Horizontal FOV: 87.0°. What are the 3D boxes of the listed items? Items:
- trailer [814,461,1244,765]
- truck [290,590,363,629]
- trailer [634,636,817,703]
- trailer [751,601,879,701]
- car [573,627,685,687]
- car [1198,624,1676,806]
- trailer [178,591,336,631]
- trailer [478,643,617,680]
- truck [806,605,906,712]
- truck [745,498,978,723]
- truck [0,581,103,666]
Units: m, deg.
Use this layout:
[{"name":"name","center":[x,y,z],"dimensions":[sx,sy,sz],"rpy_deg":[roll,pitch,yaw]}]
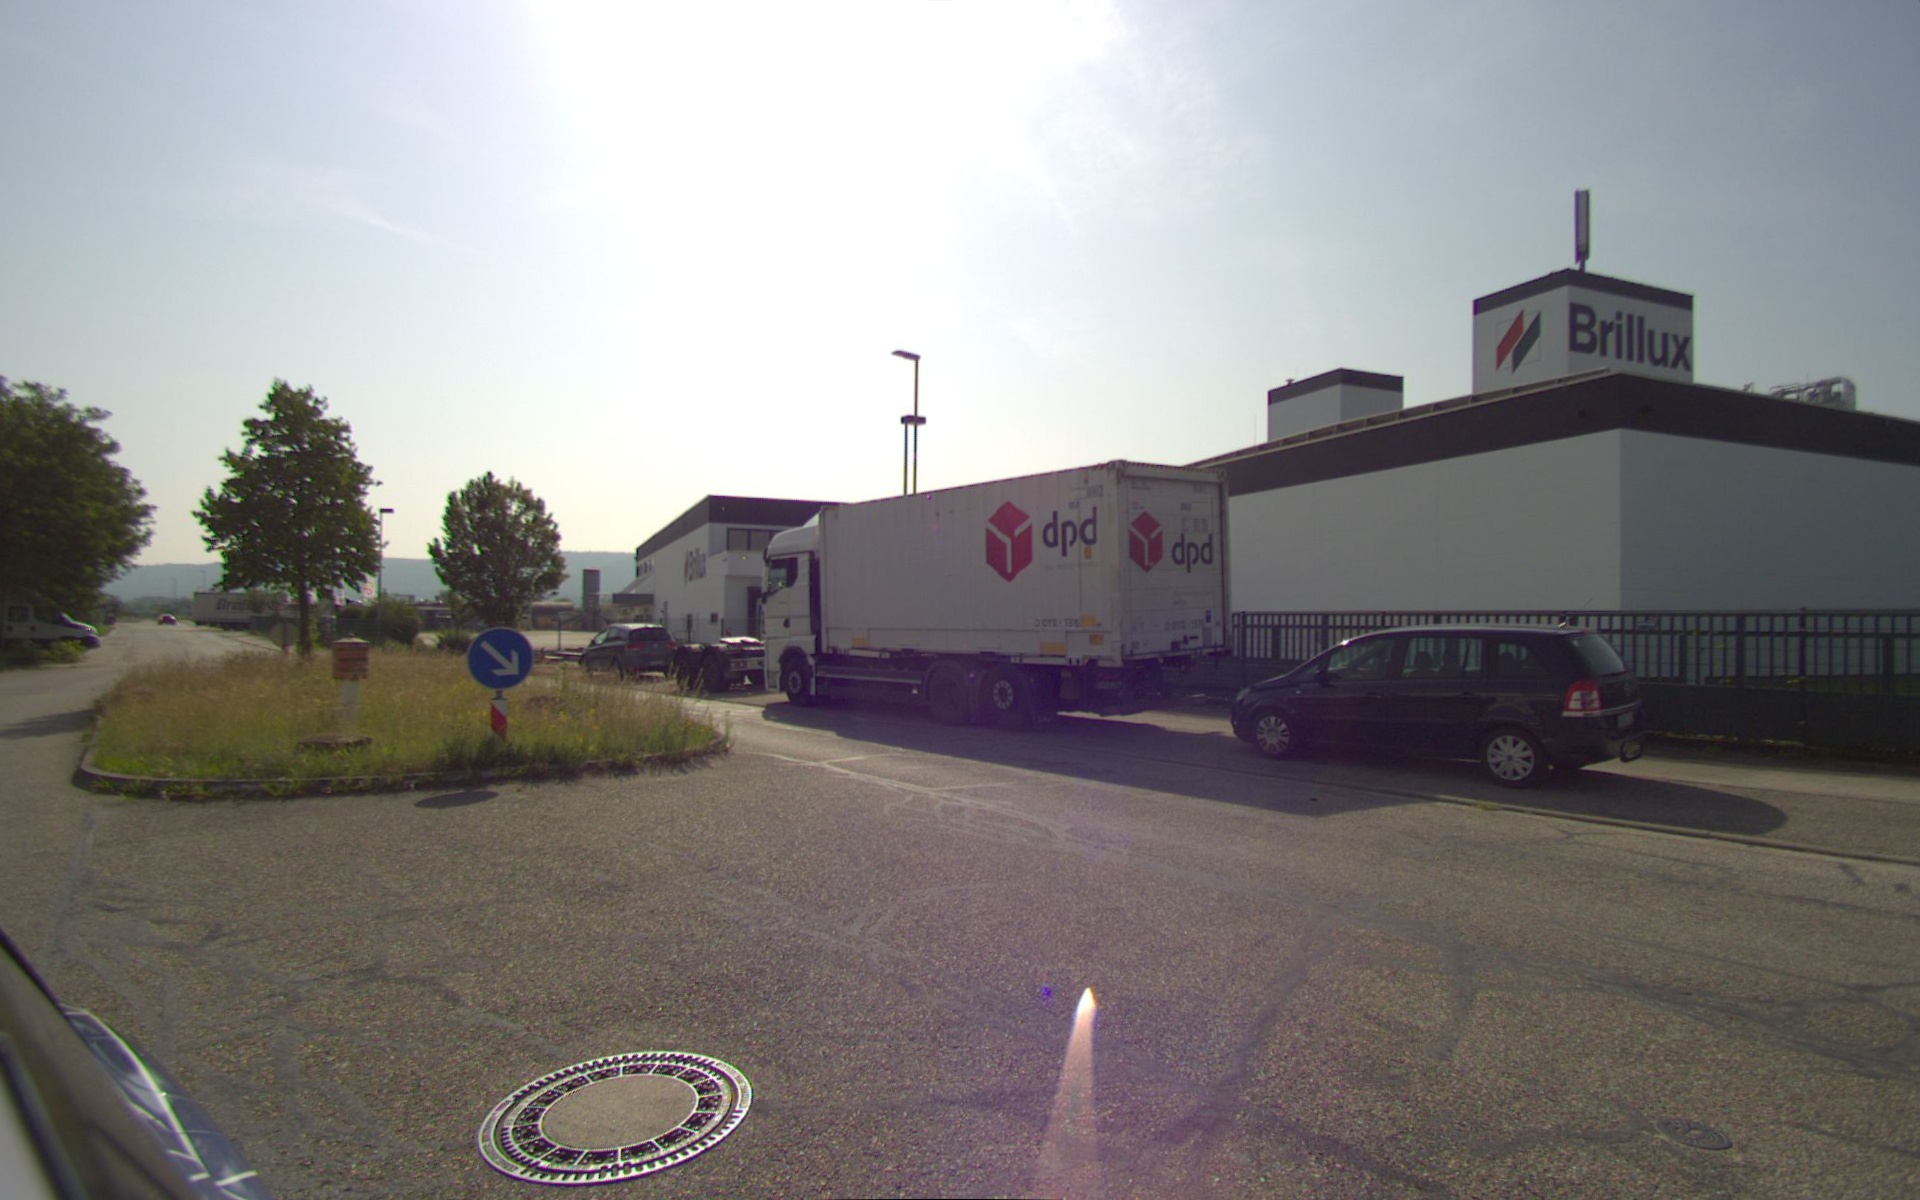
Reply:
[{"name":"trailer","center":[0.725,0.165,16.937],"dimensions":[2.666,3.951,7.588],"rpy_deg":[-1,0,-40]},{"name":"truck","center":[-70.619,1.066,112.880],"dimensions":[6.002,4.239,3.404],"rpy_deg":[-1,0,-8]},{"name":"trailer","center":[-6.061,1.660,25.671],"dimensions":[2.646,1.464,5.087],"rpy_deg":[1,-2,-38]},{"name":"trailer","center":[-7.328,2.117,48.576],"dimensions":[2.447,4.072,13.935],"rpy_deg":[-1,0,-24]},{"name":"car","center":[-9.872,1.624,29.953],"dimensions":[1.674,1.573,4.343],"rpy_deg":[-1,-1,-39]},{"name":"car","center":[5.264,1.128,11.722],"dimensions":[1.969,1.653,4.594],"rpy_deg":[0,-1,-41]},{"name":"trailer","center":[-76.968,1.142,111.215],"dimensions":[13.998,4.239,3.509],"rpy_deg":[-1,0,-12]},{"name":"trailer","center":[-14.559,2.091,35.403],"dimensions":[2.515,0.932,6.720],"rpy_deg":[-2,0,-40]},{"name":"truck","center":[-4.443,2.265,42.072],"dimensions":[2.477,4.102,5.562],"rpy_deg":[-1,0,-24]},{"name":"truck","center":[-2.067,0.176,20.322],"dimensions":[2.675,3.951,4.304],"rpy_deg":[-1,0,-40]},{"name":"truck","center":[-39.877,0.893,40.734],"dimensions":[8.105,3.396,2.746],"rpy_deg":[3,-2,-40]}]
